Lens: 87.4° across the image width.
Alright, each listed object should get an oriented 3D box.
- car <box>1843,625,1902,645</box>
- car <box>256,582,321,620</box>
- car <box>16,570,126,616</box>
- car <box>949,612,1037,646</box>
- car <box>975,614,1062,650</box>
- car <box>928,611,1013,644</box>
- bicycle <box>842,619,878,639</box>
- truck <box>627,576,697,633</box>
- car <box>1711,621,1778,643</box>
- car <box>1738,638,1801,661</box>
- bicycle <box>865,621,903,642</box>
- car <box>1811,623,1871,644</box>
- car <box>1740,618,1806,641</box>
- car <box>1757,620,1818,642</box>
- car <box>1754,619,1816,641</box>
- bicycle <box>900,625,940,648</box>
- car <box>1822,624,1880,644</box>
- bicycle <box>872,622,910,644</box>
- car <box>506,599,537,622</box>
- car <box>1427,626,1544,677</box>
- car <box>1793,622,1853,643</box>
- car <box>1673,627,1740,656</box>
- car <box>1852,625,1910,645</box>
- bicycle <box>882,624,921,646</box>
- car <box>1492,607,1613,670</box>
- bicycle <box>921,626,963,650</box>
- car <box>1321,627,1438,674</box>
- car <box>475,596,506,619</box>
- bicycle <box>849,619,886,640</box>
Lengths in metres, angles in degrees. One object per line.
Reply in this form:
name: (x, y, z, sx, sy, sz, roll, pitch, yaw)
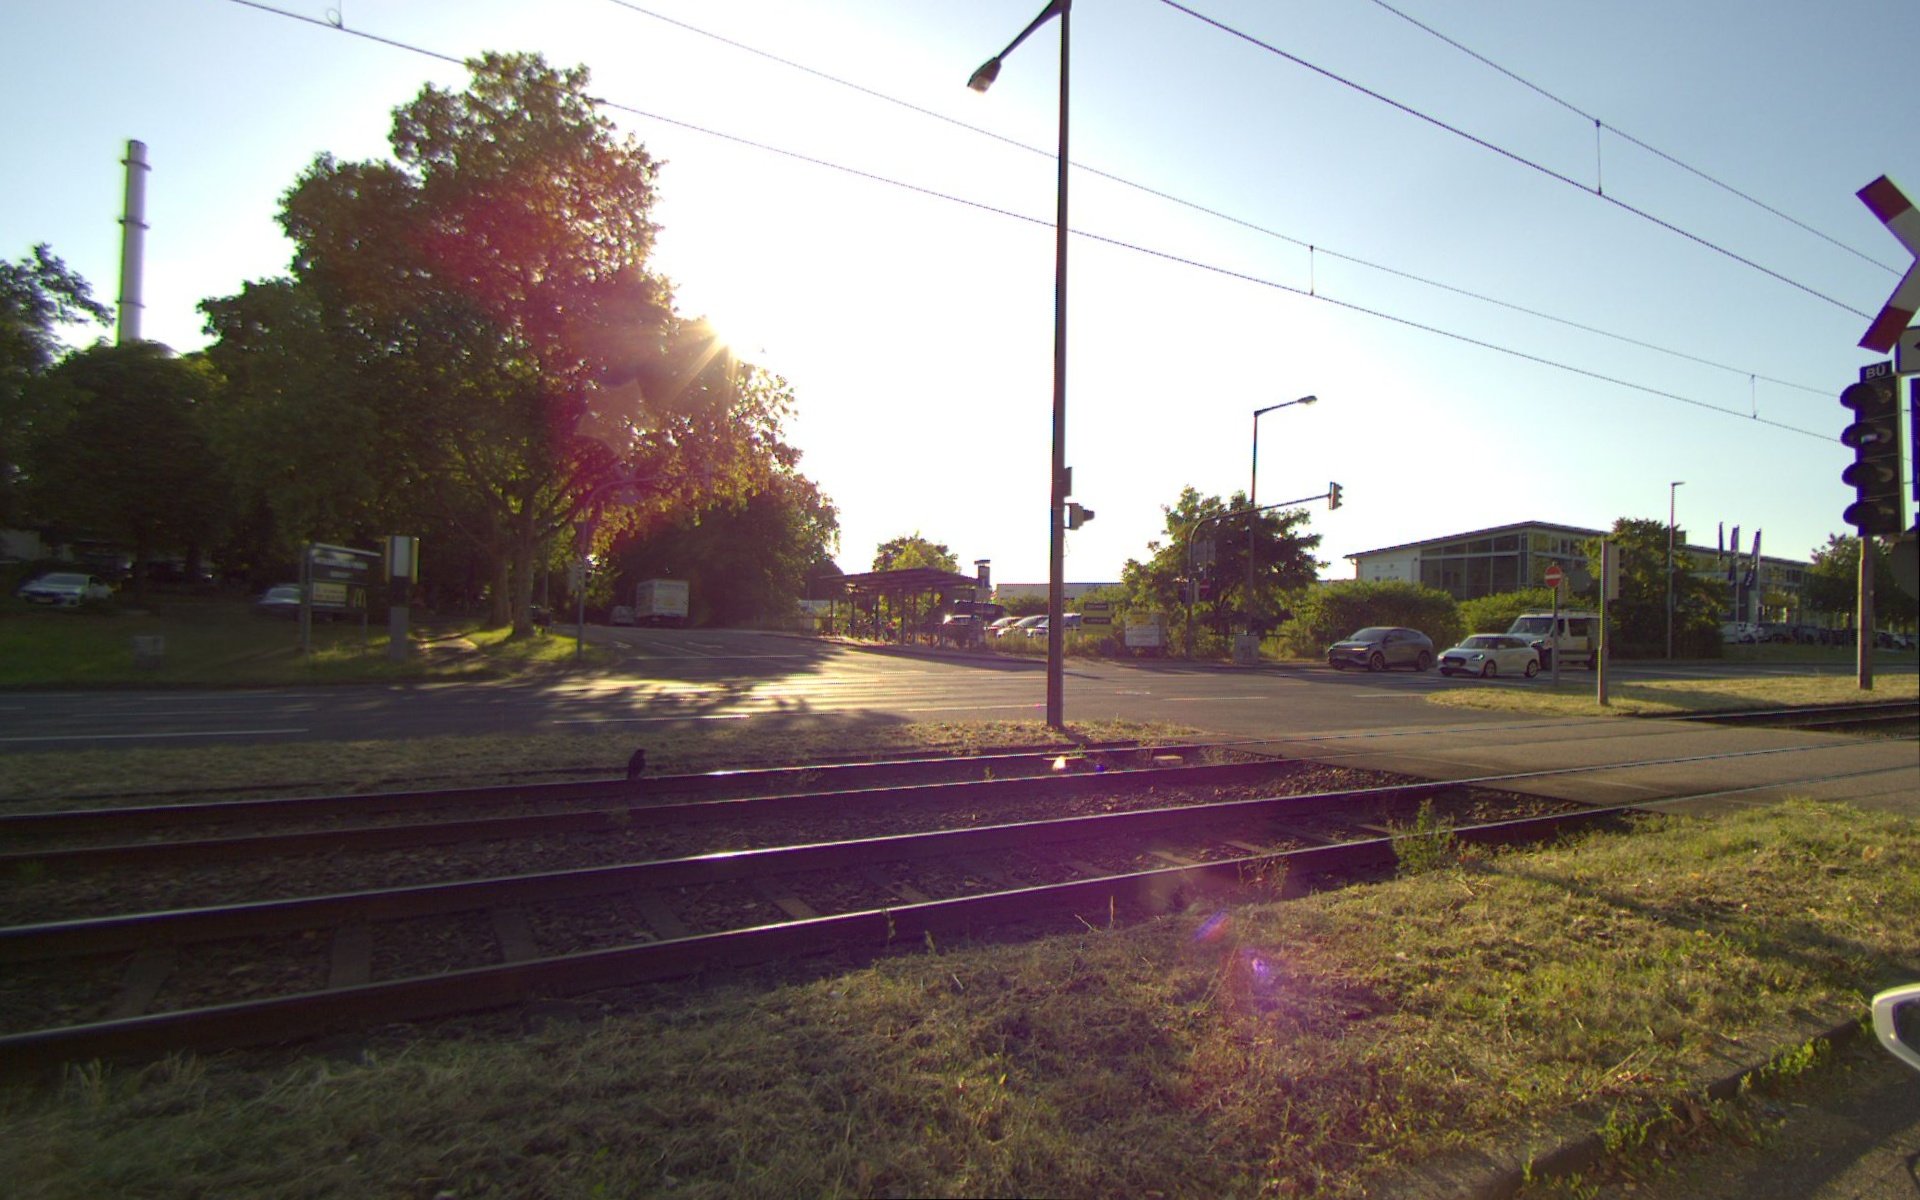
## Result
car: (80.404, 3.057, 88.581, 3.744, 1.588, 1.751, 2, -1, 41)
car: (-30.103, 0.050, 45.162, 2.019, 1.595, 4.368, 2, -1, -29)
car: (-36.607, -0.271, 41.531, 1.973, 1.729, 4.870, 2, -1, -24)
car: (1.793, 1.552, 53.911, 4.272, 1.670, 2.102, 2, -1, -32)
car: (2.993, 1.632, 51.557, 3.955, 1.670, 2.102, 2, -1, -32)
car: (0.602, 1.533, 55.915, 4.272, 1.670, 2.102, 2, -1, -32)
bicycle: (-5.464, 1.606, 55.007, 1.868, 1.052, 0.540, 2, 0, -26)
truck: (-22.979, 0.312, 76.986, 3.154, 3.927, 11.022, 2, -1, -27)
car: (57.340, 2.331, 73.409, 3.744, 1.407, 1.751, 2, -1, 41)
car: (62.377, 3.813, 77.412, 3.744, 1.588, 1.751, 2, -1, 41)
bicycle: (-3.953, 1.659, 52.448, 1.868, 1.052, 0.540, 2, 0, -26)
car: (75.058, 2.828, 85.650, 3.744, 1.588, 1.751, 2, -1, 41)
car: (60.970, 2.194, 75.365, 3.744, 1.588, 1.751, 2, -1, 41)
car: (67.082, 2.495, 81.453, 3.744, 1.588, 1.751, 2, -1, 41)
car: (65.015, 2.386, 79.182, 3.744, 1.588, 1.751, 2, -1, 41)
bicycle: (-1.907, 1.748, 48.344, 1.871, 1.052, 0.540, 2, -1, -30)
car: (77.333, 2.930, 87.256, 3.744, 1.588, 1.751, 2, -1, 41)
bicycle: (-3.483, 1.678, 50.987, 1.871, 1.052, 0.540, 2, -1, -30)
car: (-32.820, 0.777, 75.113, 1.829, 1.572, 3.970, 2, -1, -28)
car: (18.449, 1.815, 35.244, 3.954, 1.639, 1.861, 2, -1, -31)
car: (72.146, 2.702, 83.999, 3.744, 1.588, 1.751, 2, -1, 41)
car: (53.811, 2.983, 72.460, 3.744, 1.884, 1.751, 2, -1, 41)
car: (82.658, 3.158, 90.194, 3.744, 1.588, 1.751, 2, -1, 41)
bicycle: (-2.943, 1.758, 50.451, 1.871, 1.052, 0.540, 2, -1, -30)
car: (26.242, 1.715, 44.415, 5.806, 2.600, 1.994, 2, -1, -30)
bicycle: (-0.799, 1.743, 45.570, 1.871, 1.052, 0.540, 2, -1, -30)
car: (16.137, 1.937, 38.568, 4.496, 1.639, 1.861, 2, -1, -31)
car: (-34.936, 0.563, 74.671, 1.829, 1.572, 3.970, 2, -1, -28)
bicycle: (-4.947, 1.572, 53.759, 1.868, 1.052, 0.540, 2, 0, -26)
